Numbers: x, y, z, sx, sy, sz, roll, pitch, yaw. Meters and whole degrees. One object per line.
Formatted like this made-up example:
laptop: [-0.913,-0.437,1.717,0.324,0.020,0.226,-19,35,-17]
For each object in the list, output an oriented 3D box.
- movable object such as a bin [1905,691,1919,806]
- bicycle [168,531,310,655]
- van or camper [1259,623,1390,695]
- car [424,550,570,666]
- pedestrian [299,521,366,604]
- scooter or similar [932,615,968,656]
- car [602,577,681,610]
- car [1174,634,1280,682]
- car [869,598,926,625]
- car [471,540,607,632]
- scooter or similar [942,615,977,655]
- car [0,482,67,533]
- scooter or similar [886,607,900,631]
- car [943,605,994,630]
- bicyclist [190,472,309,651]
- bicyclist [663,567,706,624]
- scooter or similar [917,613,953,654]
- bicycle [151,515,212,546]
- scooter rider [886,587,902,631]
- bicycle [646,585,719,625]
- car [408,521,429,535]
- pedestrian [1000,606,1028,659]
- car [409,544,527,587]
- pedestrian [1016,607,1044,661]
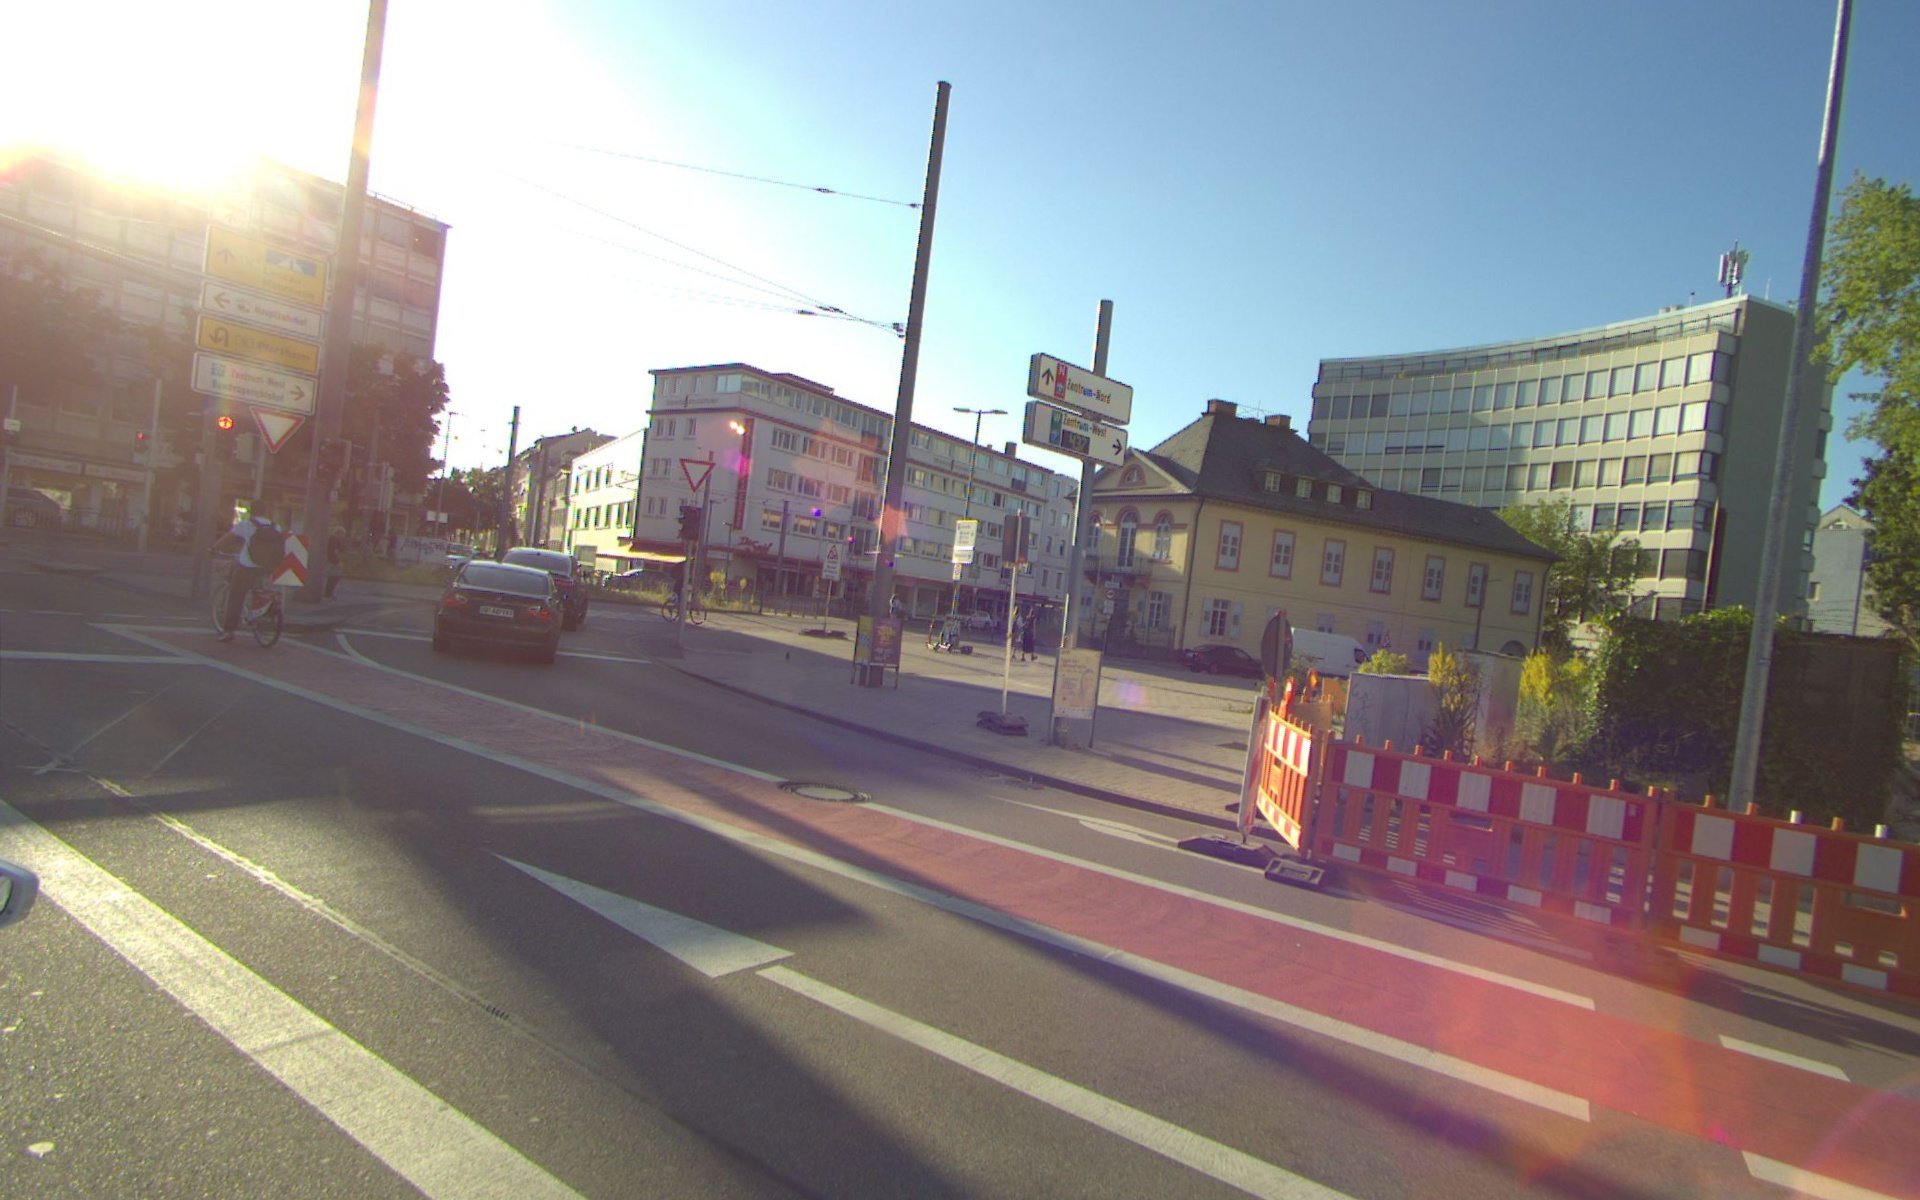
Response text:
movable object such as a bin: [18.553,1.879,16.443,6.019,3.602,2.837,7,0,-32]
bicycle: [-9.024,-0.102,12.558,2.015,1.238,0.645,9,0,34]
van or camper: [17.255,2.783,47.627,5.523,2.668,1.993,7,0,-17]
car: [-7.272,0.061,16.031,1.726,1.444,3.978,7,-1,-23]
pedestrian: [-13.256,-0.782,21.262,0.644,1.617,0.879,7,1,30]
scooter or similar: [-0.362,1.220,34.934,0.563,1.274,1.334,6,0,-27]
car: [-18.750,-0.383,59.316,1.969,1.437,3.988,7,0,36]
car: [12.142,2.626,45.849,4.101,1.593,1.992,7,0,-18]
car: [-4.852,0.893,78.473,1.971,1.597,4.306,7,0,39]
car: [-9.798,-0.319,23.779,1.968,1.713,3.992,9,-1,-11]
scooter or similar: [-0.039,1.225,35.640,0.563,1.274,1.334,6,0,-27]
car: [-34.059,-3.426,34.497,1.973,1.497,4.910,7,0,43]
scooter or similar: [-3.077,0.865,46.159,0.485,1.046,1.386,7,0,-2]
car: [0.780,1.492,86.152,1.971,1.597,4.306,7,0,39]
bicyclist: [-8.807,-0.480,12.464,1.050,2.037,0.644,9,0,33]
bicyclist: [-8.877,-0.146,32.391,0.680,1.682,0.959,7,0,36]
scooter or similar: [-0.861,1.143,34.623,0.563,1.274,1.334,6,0,-27]
bicycle: [-34.766,-3.088,44.948,0.666,1.112,1.976,7,0,29]
scooter rider: [-3.033,0.414,46.169,0.492,1.944,0.533,7,1,-3]
bicycle: [-8.912,0.176,32.402,0.671,1.039,2.227,7,0,36]
car: [-65.056,-8.656,120.839,1.978,1.415,3.968,7,0,-30]
pedestrian: [1.979,1.182,36.715,0.587,1.847,0.728,7,1,23]
car: [-24.450,-1.702,50.215,1.966,1.497,4.927,7,0,31]
pedestrian: [2.510,1.237,36.238,0.587,1.847,0.728,7,1,23]
